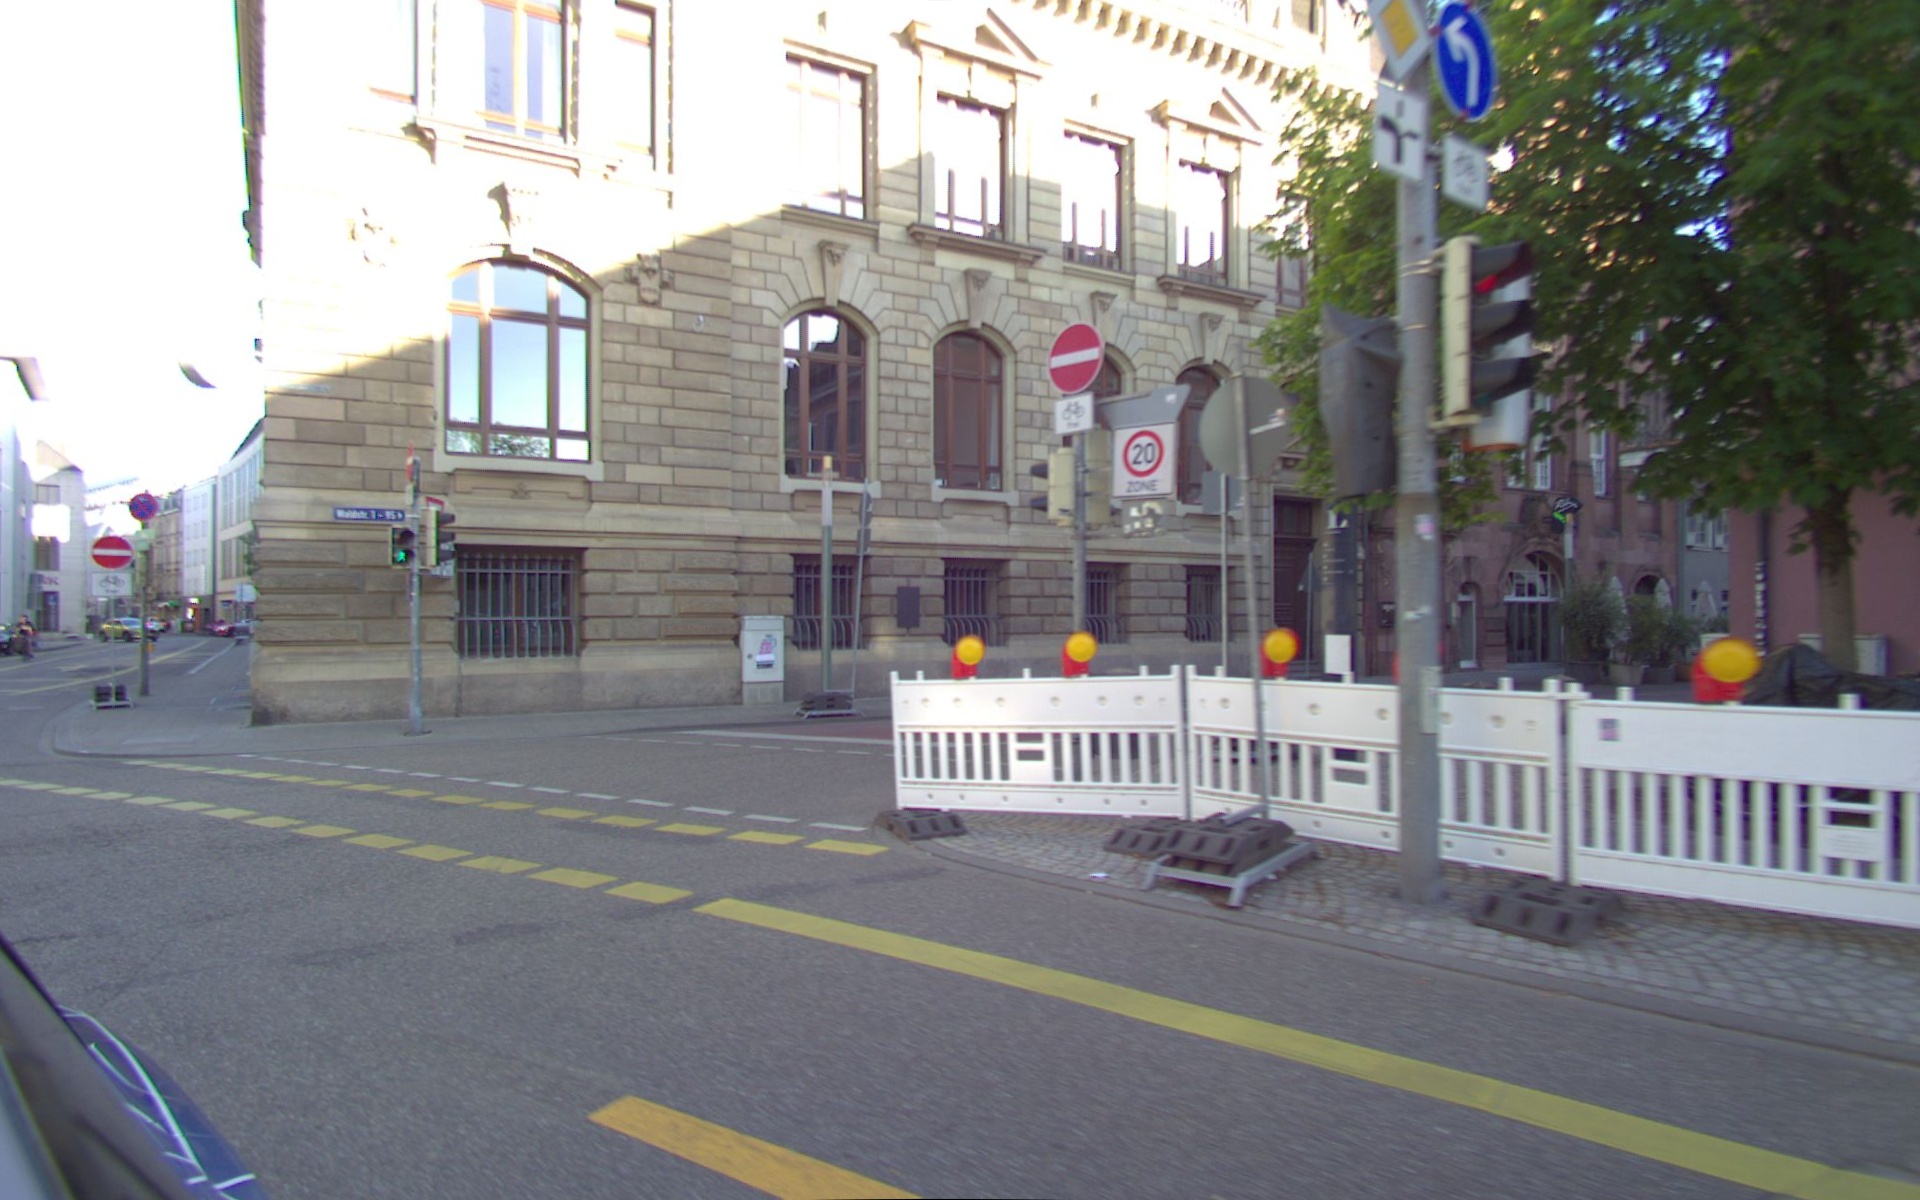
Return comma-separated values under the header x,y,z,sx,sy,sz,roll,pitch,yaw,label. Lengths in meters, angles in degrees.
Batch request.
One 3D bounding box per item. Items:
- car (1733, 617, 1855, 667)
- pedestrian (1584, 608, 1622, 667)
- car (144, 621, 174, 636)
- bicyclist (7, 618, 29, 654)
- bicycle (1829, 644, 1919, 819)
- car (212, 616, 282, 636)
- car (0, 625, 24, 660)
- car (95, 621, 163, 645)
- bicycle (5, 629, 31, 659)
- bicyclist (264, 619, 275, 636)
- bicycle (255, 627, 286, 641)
x,y,z,sx,sy,sz,roll,pitch,yaw,label
26.772,1.310,32.460,3.932,1.500,1.839,0,-1,-32,car
18.949,1.103,29.819,0.471,1.718,0.778,0,-1,-30,pedestrian
-86.613,3.056,109.411,4.273,1.502,2.025,-1,-1,45,car
-34.278,1.304,36.821,0.529,1.298,0.553,0,-1,-36,bicyclist
7.059,0.932,7.086,0.677,1.215,1.995,1,-2,15,bicycle
-54.964,2.013,78.080,1.633,1.482,4.210,-2,-1,43,car
-43.204,1.893,45.067,1.671,1.503,4.265,0,-1,-35,car
-54.936,2.202,66.877,4.229,1.503,1.840,-1,-1,25,car
-34.264,1.587,36.812,0.526,1.074,1.429,0,-1,-36,bicycle
-51.756,2.071,75.848,0.604,1.298,0.539,0,-1,-43,bicyclist
-51.762,2.530,75.944,1.845,0.916,0.536,-2,8,-44,bicycle
